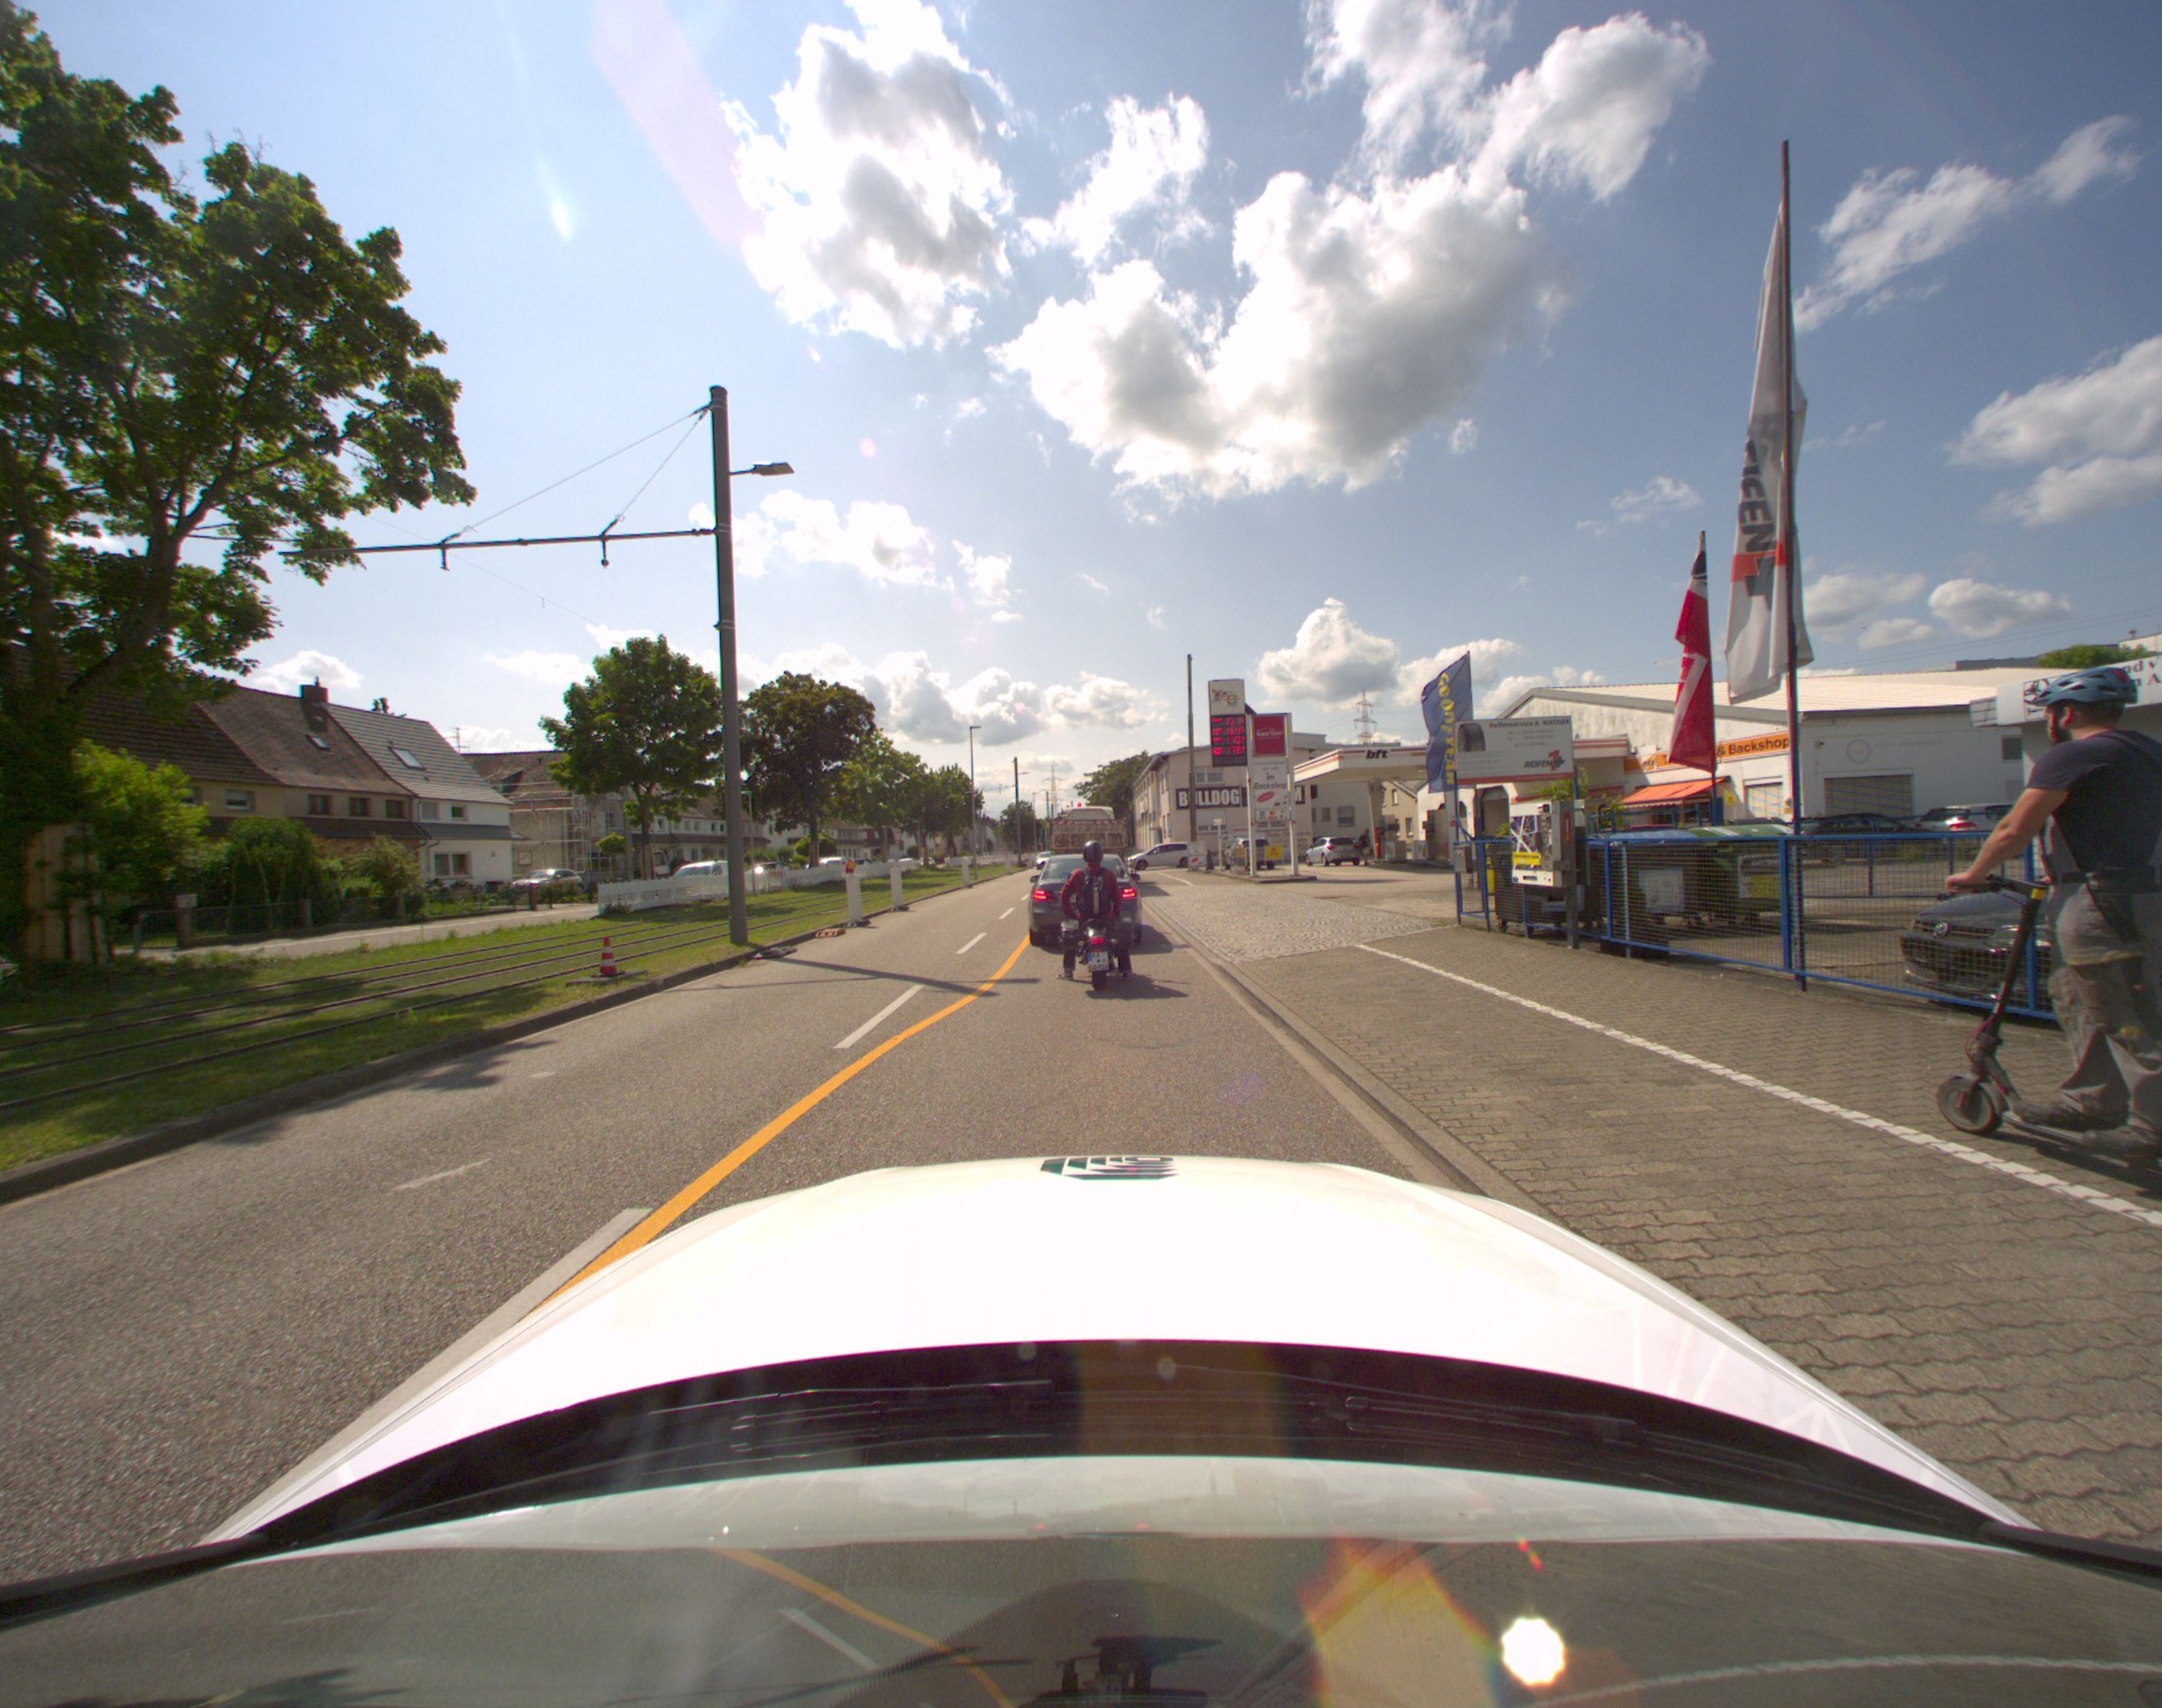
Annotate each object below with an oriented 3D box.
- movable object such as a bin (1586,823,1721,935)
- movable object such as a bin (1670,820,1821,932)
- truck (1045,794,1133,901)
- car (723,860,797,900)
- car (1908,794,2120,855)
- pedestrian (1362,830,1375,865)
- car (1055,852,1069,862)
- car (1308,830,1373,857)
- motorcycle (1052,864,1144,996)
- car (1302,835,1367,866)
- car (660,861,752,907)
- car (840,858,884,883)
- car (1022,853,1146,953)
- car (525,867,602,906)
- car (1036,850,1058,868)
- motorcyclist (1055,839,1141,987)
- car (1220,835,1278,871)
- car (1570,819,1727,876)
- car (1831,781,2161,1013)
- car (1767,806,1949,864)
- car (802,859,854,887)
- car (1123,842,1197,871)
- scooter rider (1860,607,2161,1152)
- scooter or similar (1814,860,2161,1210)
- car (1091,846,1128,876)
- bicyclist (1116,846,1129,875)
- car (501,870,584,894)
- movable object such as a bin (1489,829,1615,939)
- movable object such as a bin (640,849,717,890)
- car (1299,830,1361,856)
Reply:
[{"bbox_3d":[8.056,0.342,11.512,1.252,1.444,0.824,-3,-1,1],"label":"movable object such as a bin"},{"bbox_3d":[9.380,0.298,11.539,1.319,1.444,0.952,-3,-1,-7],"label":"movable object such as a bin"},{"bbox_3d":[0.353,-0.322,30.524,2.601,3.255,9.185,-3,1,1],"label":"truck"},{"bbox_3d":[-15.926,1.262,40.616,1.987,1.750,4.000,-3,0,0],"label":"car"},{"bbox_3d":[26.078,-0.794,22.859,3.994,1.388,1.612,-3,0,2],"label":"car"},{"bbox_3d":[14.067,-0.335,39.890,0.395,1.689,0.485,-3,-1,1],"label":"pedestrian"},{"bbox_3d":[-2.810,0.472,118.558,1.840,1.386,4.344,-3,0,0],"label":"car"},{"bbox_3d":[18.717,-0.756,58.812,3.975,1.648,1.965,-3,0,-1],"label":"car"},{"bbox_3d":[0.194,0.798,9.713,0.936,1.320,2.645,-1,0,1],"label":"motorcycle"},{"bbox_3d":[12.889,-0.151,41.705,1.954,1.420,3.997,-3,0,-2],"label":"car"},{"bbox_3d":[-16.096,1.243,35.178,1.987,1.750,4.000,-3,0,0],"label":"car"},{"bbox_3d":[-16.008,1.188,59.638,1.987,1.606,4.000,-3,0,0],"label":"car"},{"bbox_3d":[0.070,0.727,14.188,1.815,1.424,4.000,-2,0,1],"label":"car"},{"bbox_3d":[-25.042,1.534,39.497,1.679,1.721,3.030,-3,0,0],"label":"car"},{"bbox_3d":[-2.857,0.396,69.269,1.650,1.447,4.301,-3,0,-1],"label":"car"},{"bbox_3d":[0.193,0.645,9.533,0.936,1.615,1.205,-1,0,0],"label":"motorcyclist"},{"bbox_3d":[8.384,-0.037,40.986,1.954,1.648,3.997,-3,0,-2],"label":"car"},{"bbox_3d":[16.152,-0.179,23.283,3.309,1.360,1.612,-3,0,0],"label":"car"},{"bbox_3d":[8.069,0.204,5.552,3.955,1.442,1.718,-3,0,18],"label":"car"},{"bbox_3d":[21.570,-0.509,22.714,3.484,1.360,1.612,-3,0,0],"label":"car"},{"bbox_3d":[-16.087,1.152,51.993,1.987,1.606,4.000,-3,0,0],"label":"car"},{"bbox_3d":[4.974,0.142,51.662,4.327,1.551,1.945,-3,0,-8],"label":"car"},{"bbox_3d":[4.022,0.074,3.360,0.715,1.963,0.785,-5,0,1],"label":"scooter rider"},{"bbox_3d":[4.043,0.641,3.341,0.539,1.195,1.611,-4,0,0],"label":"scooter or similar"},{"bbox_3d":[1.475,0.354,43.385,1.815,1.464,4.001,-2,0,1],"label":"car"},{"bbox_3d":[2.481,0.394,49.224,0.669,1.744,0.813,-3,0,0],"label":"bicyclist"},{"bbox_3d":[-28.146,1.422,42.725,1.680,1.052,3.978,-3,0,-1],"label":"car"},{"bbox_3d":[6.687,0.409,11.622,1.252,1.444,0.824,-3,-1,1],"label":"movable object such as a bin"},{"bbox_3d":[-27.035,1.033,54.862,4.353,2.449,1.776,-3,0,-22],"label":"movable object such as a bin"},{"bbox_3d":[18.736,-0.817,61.358,3.975,1.648,1.965,-3,0,-1],"label":"car"}]
